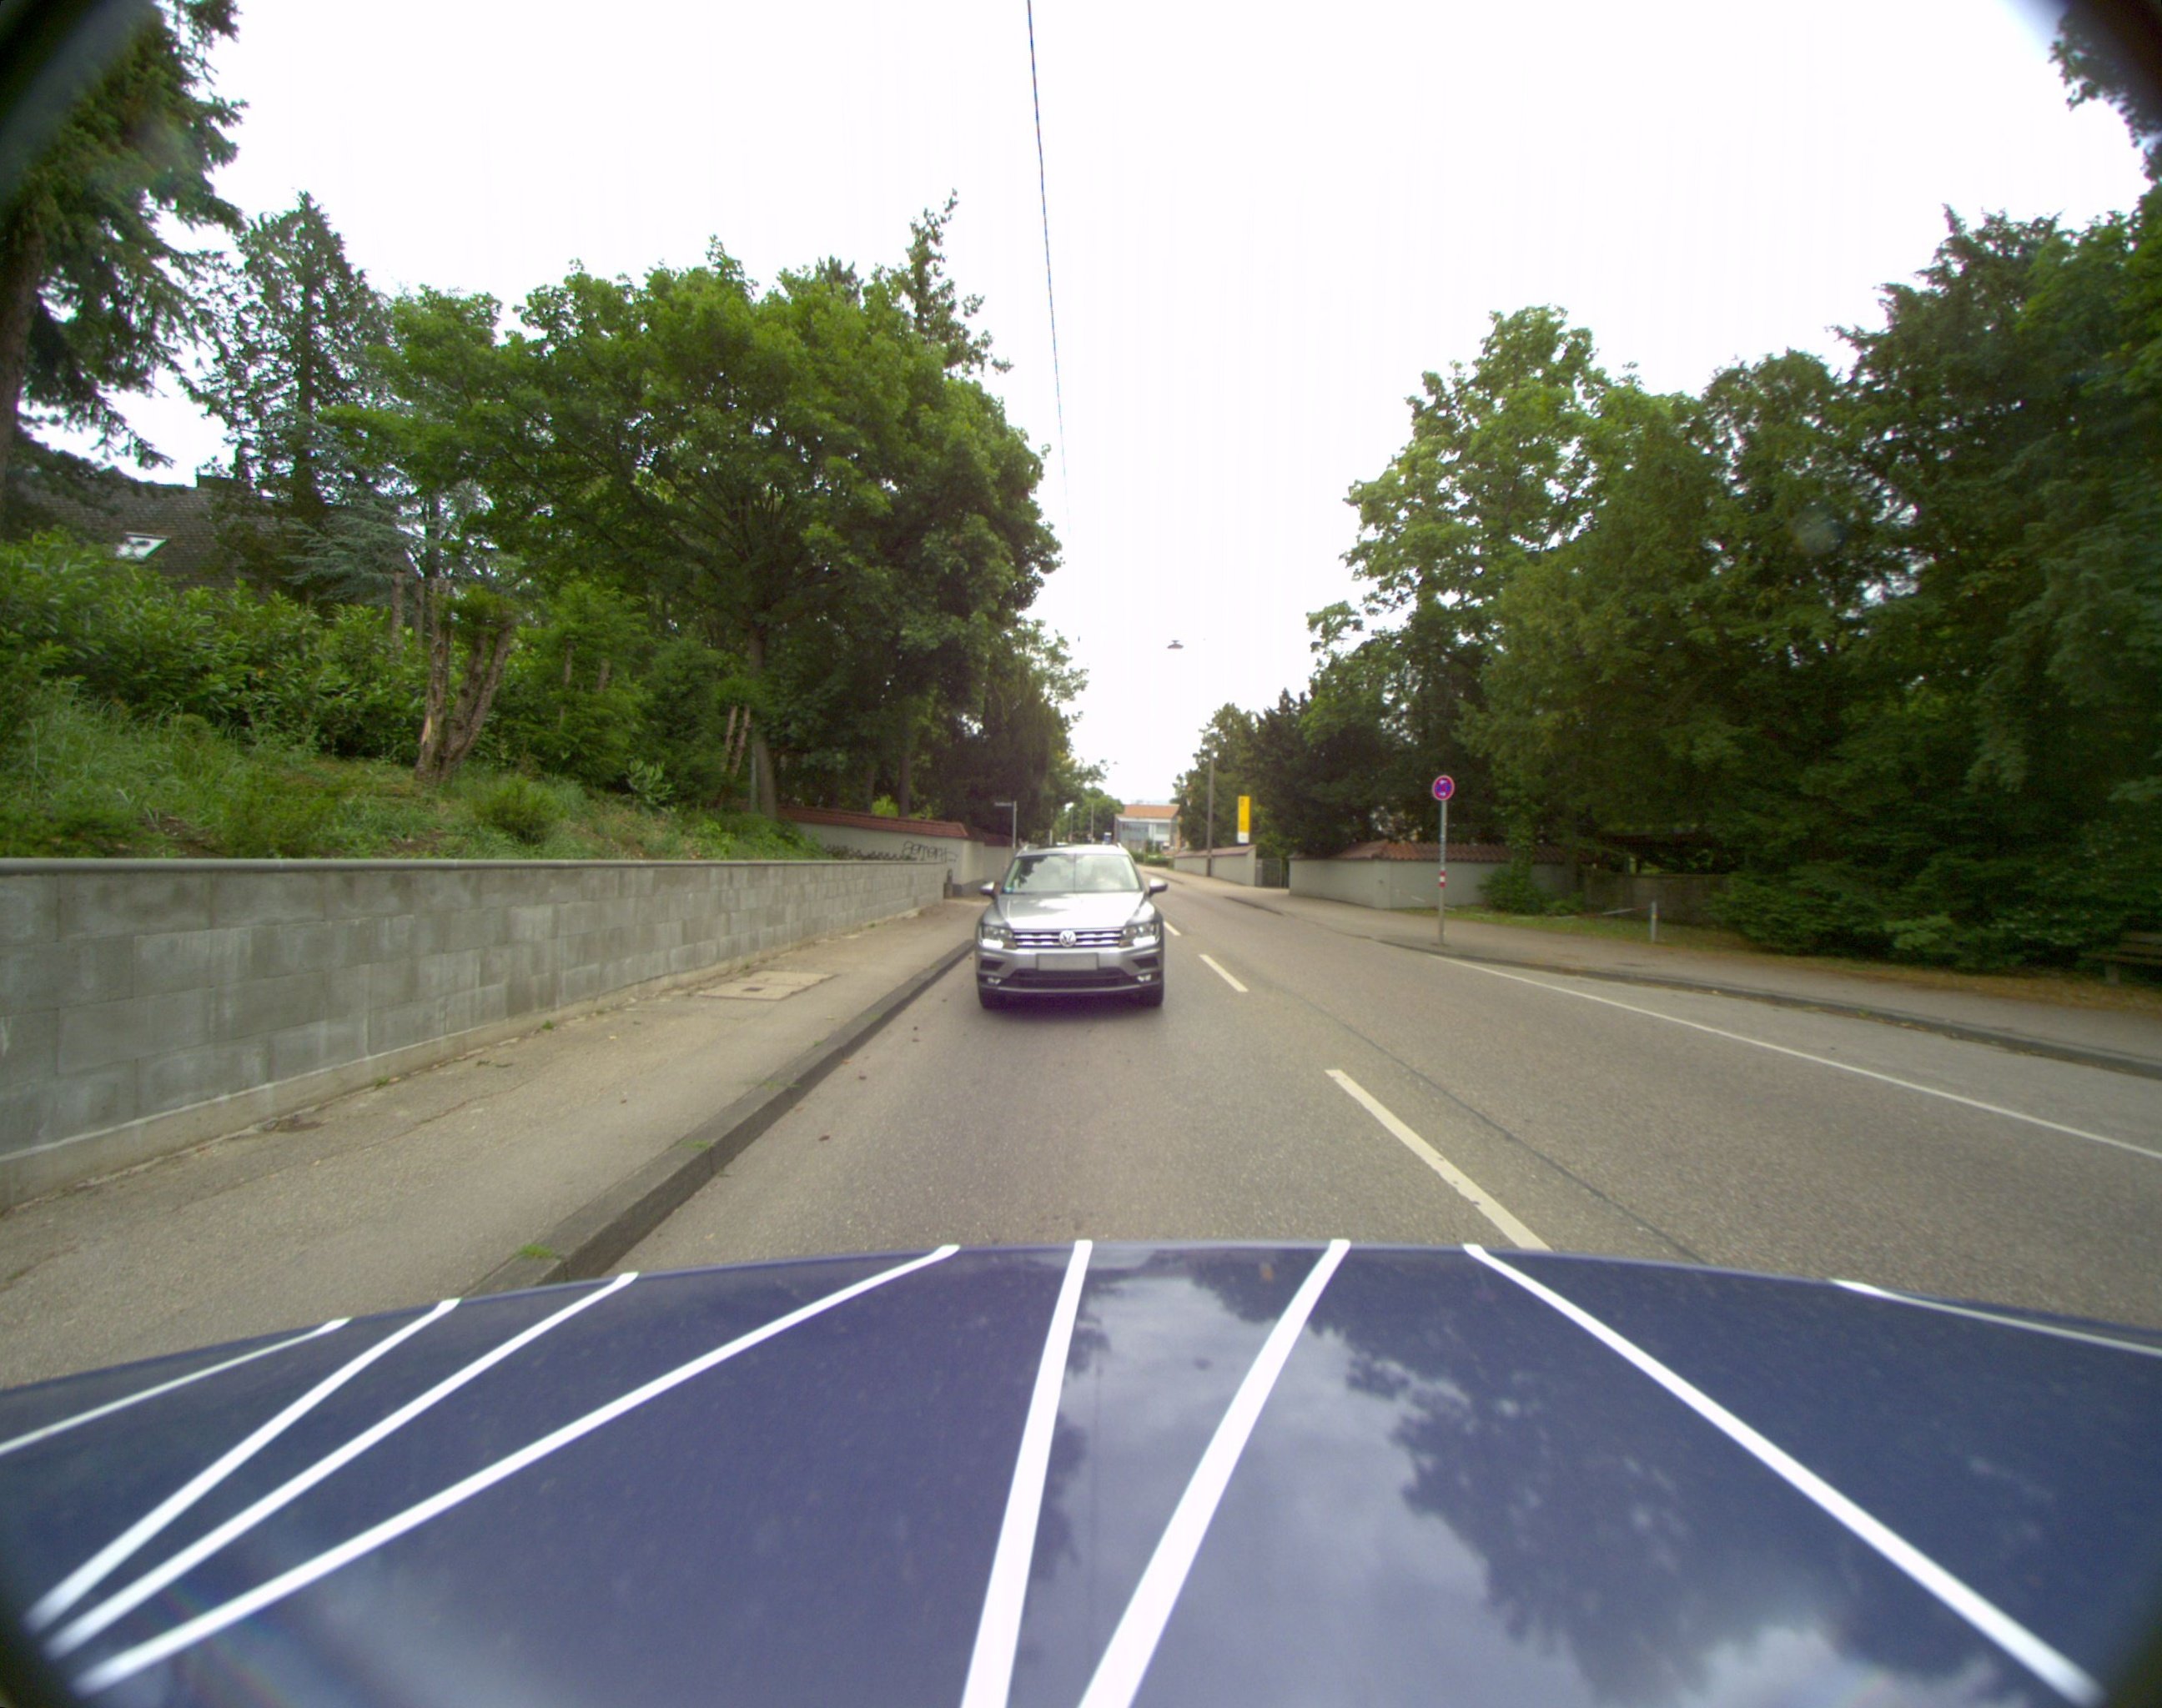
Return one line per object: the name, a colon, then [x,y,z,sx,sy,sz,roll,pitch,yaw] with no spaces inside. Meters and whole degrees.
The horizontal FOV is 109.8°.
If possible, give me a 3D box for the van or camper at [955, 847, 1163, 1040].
van or camper: [-0.166,0.768,8.699,1.800,1.663,4.198,0,0,1]
